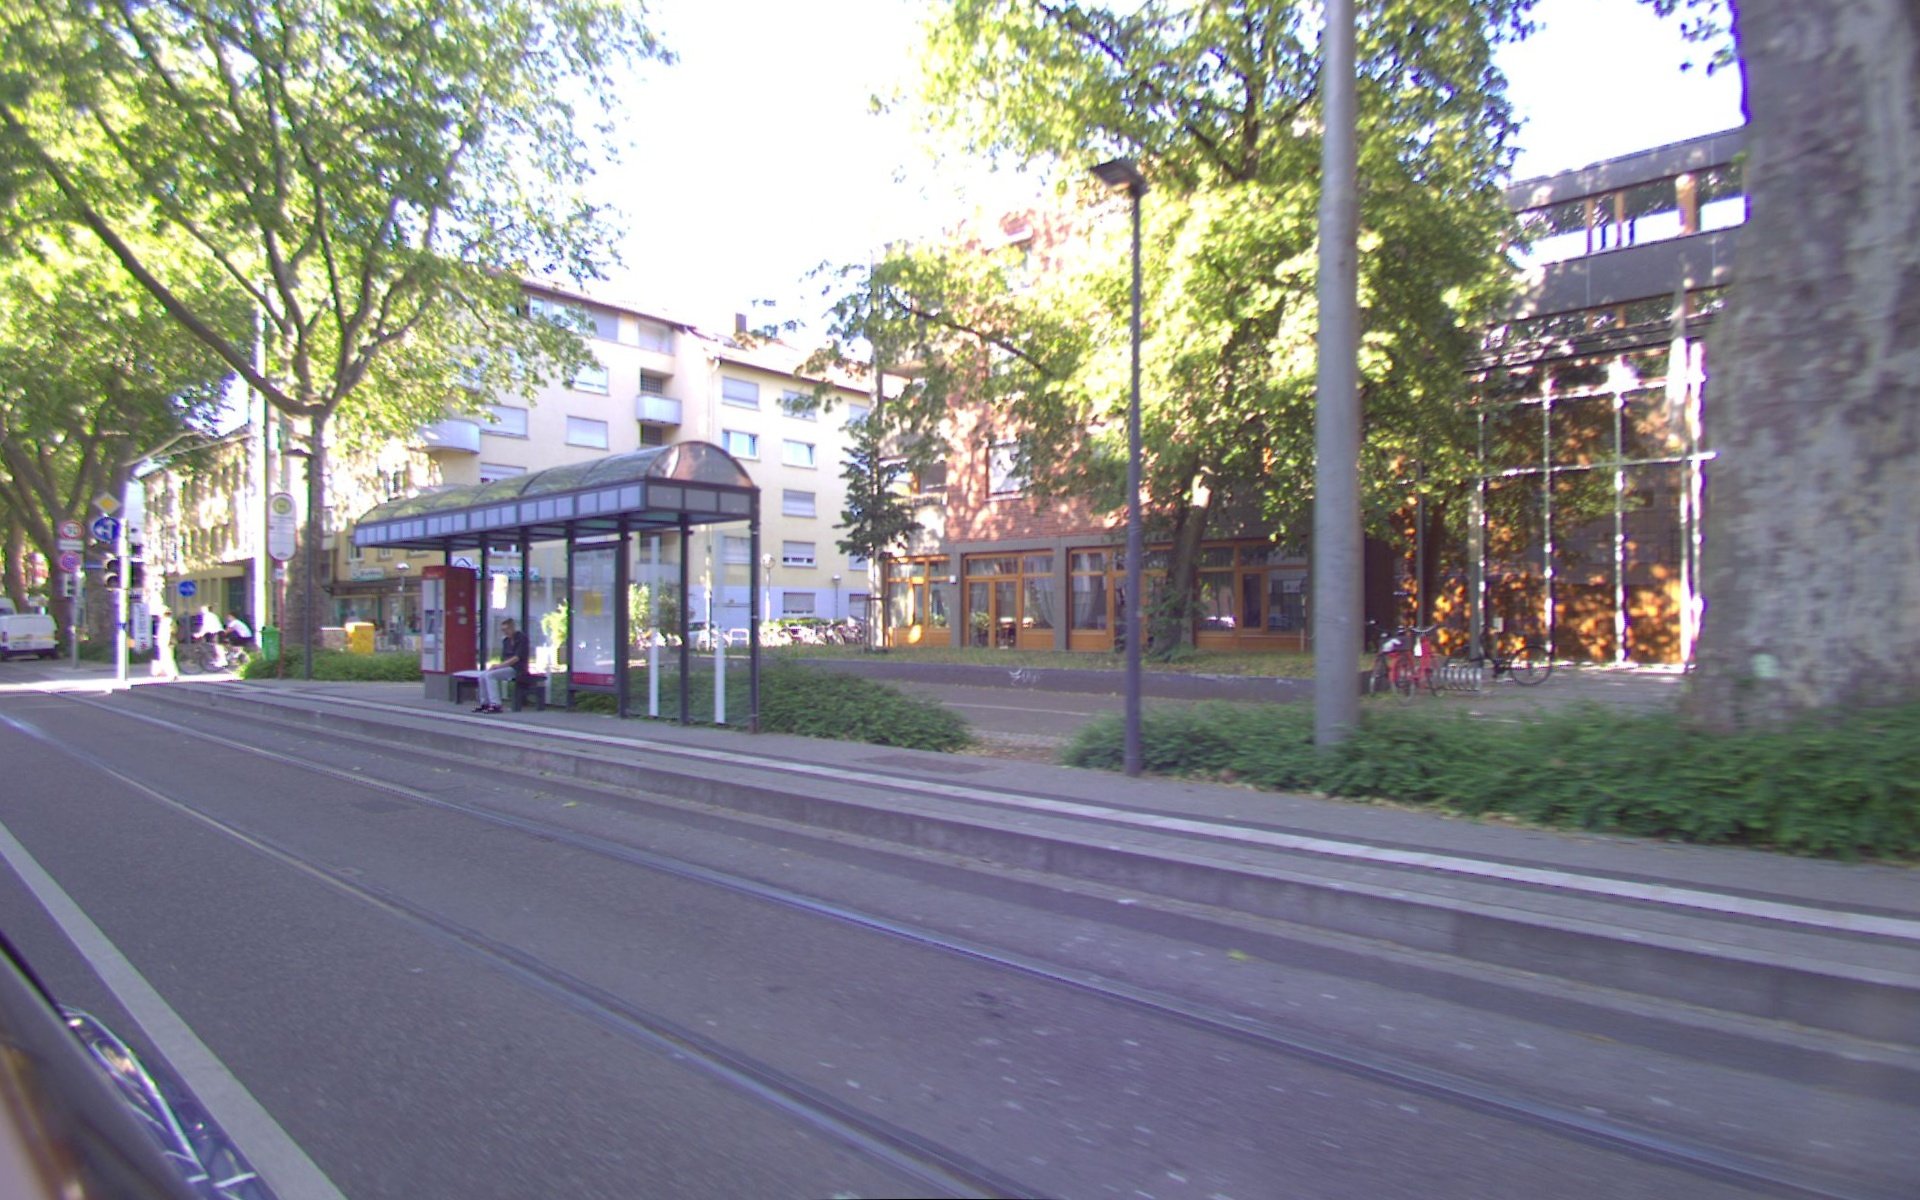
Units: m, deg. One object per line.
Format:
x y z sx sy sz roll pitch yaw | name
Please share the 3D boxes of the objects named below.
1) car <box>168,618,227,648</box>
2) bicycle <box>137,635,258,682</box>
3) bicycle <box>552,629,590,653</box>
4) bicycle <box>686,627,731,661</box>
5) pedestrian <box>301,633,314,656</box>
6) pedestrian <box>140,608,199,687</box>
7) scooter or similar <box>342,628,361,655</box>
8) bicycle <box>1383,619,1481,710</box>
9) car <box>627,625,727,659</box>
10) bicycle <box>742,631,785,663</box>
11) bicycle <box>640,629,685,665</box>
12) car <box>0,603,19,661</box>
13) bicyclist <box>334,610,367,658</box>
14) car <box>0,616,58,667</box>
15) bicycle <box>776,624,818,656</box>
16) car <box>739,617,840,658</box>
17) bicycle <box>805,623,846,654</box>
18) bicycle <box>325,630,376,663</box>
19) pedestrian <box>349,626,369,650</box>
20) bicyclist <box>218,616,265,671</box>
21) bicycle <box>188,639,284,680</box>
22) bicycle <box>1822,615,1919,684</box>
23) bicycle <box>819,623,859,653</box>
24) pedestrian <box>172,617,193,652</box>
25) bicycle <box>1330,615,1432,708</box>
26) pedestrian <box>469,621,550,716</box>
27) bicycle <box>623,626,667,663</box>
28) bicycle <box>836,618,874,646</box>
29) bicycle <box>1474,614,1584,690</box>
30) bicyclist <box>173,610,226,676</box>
-46.500 1.963 61.680 4.896 1.746 1.973 -1 0 42 | car
-20.847 1.592 27.736 2.552 1.200 0.787 0 0 -14 | bicycle
-18.349 1.918 47.714 0.543 1.092 1.616 -3 -2 42 | bicycle
-8.374 1.469 33.668 1.637 1.092 0.536 -3 -2 40 | bicycle
-32.410 2.223 50.249 0.436 1.114 0.417 -1 -1 31 | pedestrian
-19.179 1.129 24.554 0.918 1.849 0.915 -1 -1 37 | pedestrian
-27.412 1.867 45.568 0.633 1.176 0.677 0 0 -23 | scooter or similar
6.956 0.893 14.843 0.682 1.175 2.316 -1 0 41 | bicycle
-12.754 1.870 45.727 1.998 1.386 3.947 -1 0 40 | car
-6.889 1.640 35.419 1.637 1.092 0.536 -2 -2 40 | bicycle
-9.571 1.505 32.489 1.637 1.092 0.536 -4 -3 40 | bicycle
-45.498 1.466 47.082 6.024 2.597 2.085 -1 0 43 | car
-22.512 1.241 37.369 0.996 1.763 0.767 -1 -1 39 | bicyclist
-37.280 1.598 40.019 4.314 1.864 1.746 -1 0 39 | car
-5.863 1.437 36.411 1.637 1.092 0.536 -1 -1 40 | bicycle
-7.258 1.556 43.278 1.959 1.674 3.947 -1 -1 40 | car
-4.981 1.421 37.404 1.637 1.092 0.536 -1 -1 40 | bicycle
-22.530 1.704 37.387 2.593 1.119 0.775 -1 0 38 | bicycle
-27.164 1.711 45.724 0.710 1.055 0.572 -1 -1 39 | pedestrian
-20.956 1.265 29.538 0.976 1.559 0.684 0 0 -19 | bicyclist
-21.068 1.721 29.493 2.176 1.078 0.684 0 0 -19 | bicycle
15.505 0.807 17.216 0.760 1.081 1.930 -1 0 24 | bicycle
-4.553 1.412 37.983 1.637 1.092 0.536 -1 -1 40 | bicycle
-42.914 1.892 55.827 0.863 1.883 0.737 -1 -1 39 | pedestrian
6.452 0.880 15.430 0.682 1.228 2.432 -1 1 41 | bicycle
-5.789 0.865 13.017 0.658 1.177 0.698 -1 -2 38 | pedestrian
-9.973 1.420 32.015 1.535 1.092 0.536 -4 -3 40 | bicycle
-4.211 1.277 40.632 1.637 1.092 0.536 -1 -1 40 | bicycle
9.572 0.853 17.039 1.477 1.228 0.683 0 0 -7 | bicycle
-20.830 1.169 27.744 0.935 1.776 0.787 0 0 -13 | bicyclist
